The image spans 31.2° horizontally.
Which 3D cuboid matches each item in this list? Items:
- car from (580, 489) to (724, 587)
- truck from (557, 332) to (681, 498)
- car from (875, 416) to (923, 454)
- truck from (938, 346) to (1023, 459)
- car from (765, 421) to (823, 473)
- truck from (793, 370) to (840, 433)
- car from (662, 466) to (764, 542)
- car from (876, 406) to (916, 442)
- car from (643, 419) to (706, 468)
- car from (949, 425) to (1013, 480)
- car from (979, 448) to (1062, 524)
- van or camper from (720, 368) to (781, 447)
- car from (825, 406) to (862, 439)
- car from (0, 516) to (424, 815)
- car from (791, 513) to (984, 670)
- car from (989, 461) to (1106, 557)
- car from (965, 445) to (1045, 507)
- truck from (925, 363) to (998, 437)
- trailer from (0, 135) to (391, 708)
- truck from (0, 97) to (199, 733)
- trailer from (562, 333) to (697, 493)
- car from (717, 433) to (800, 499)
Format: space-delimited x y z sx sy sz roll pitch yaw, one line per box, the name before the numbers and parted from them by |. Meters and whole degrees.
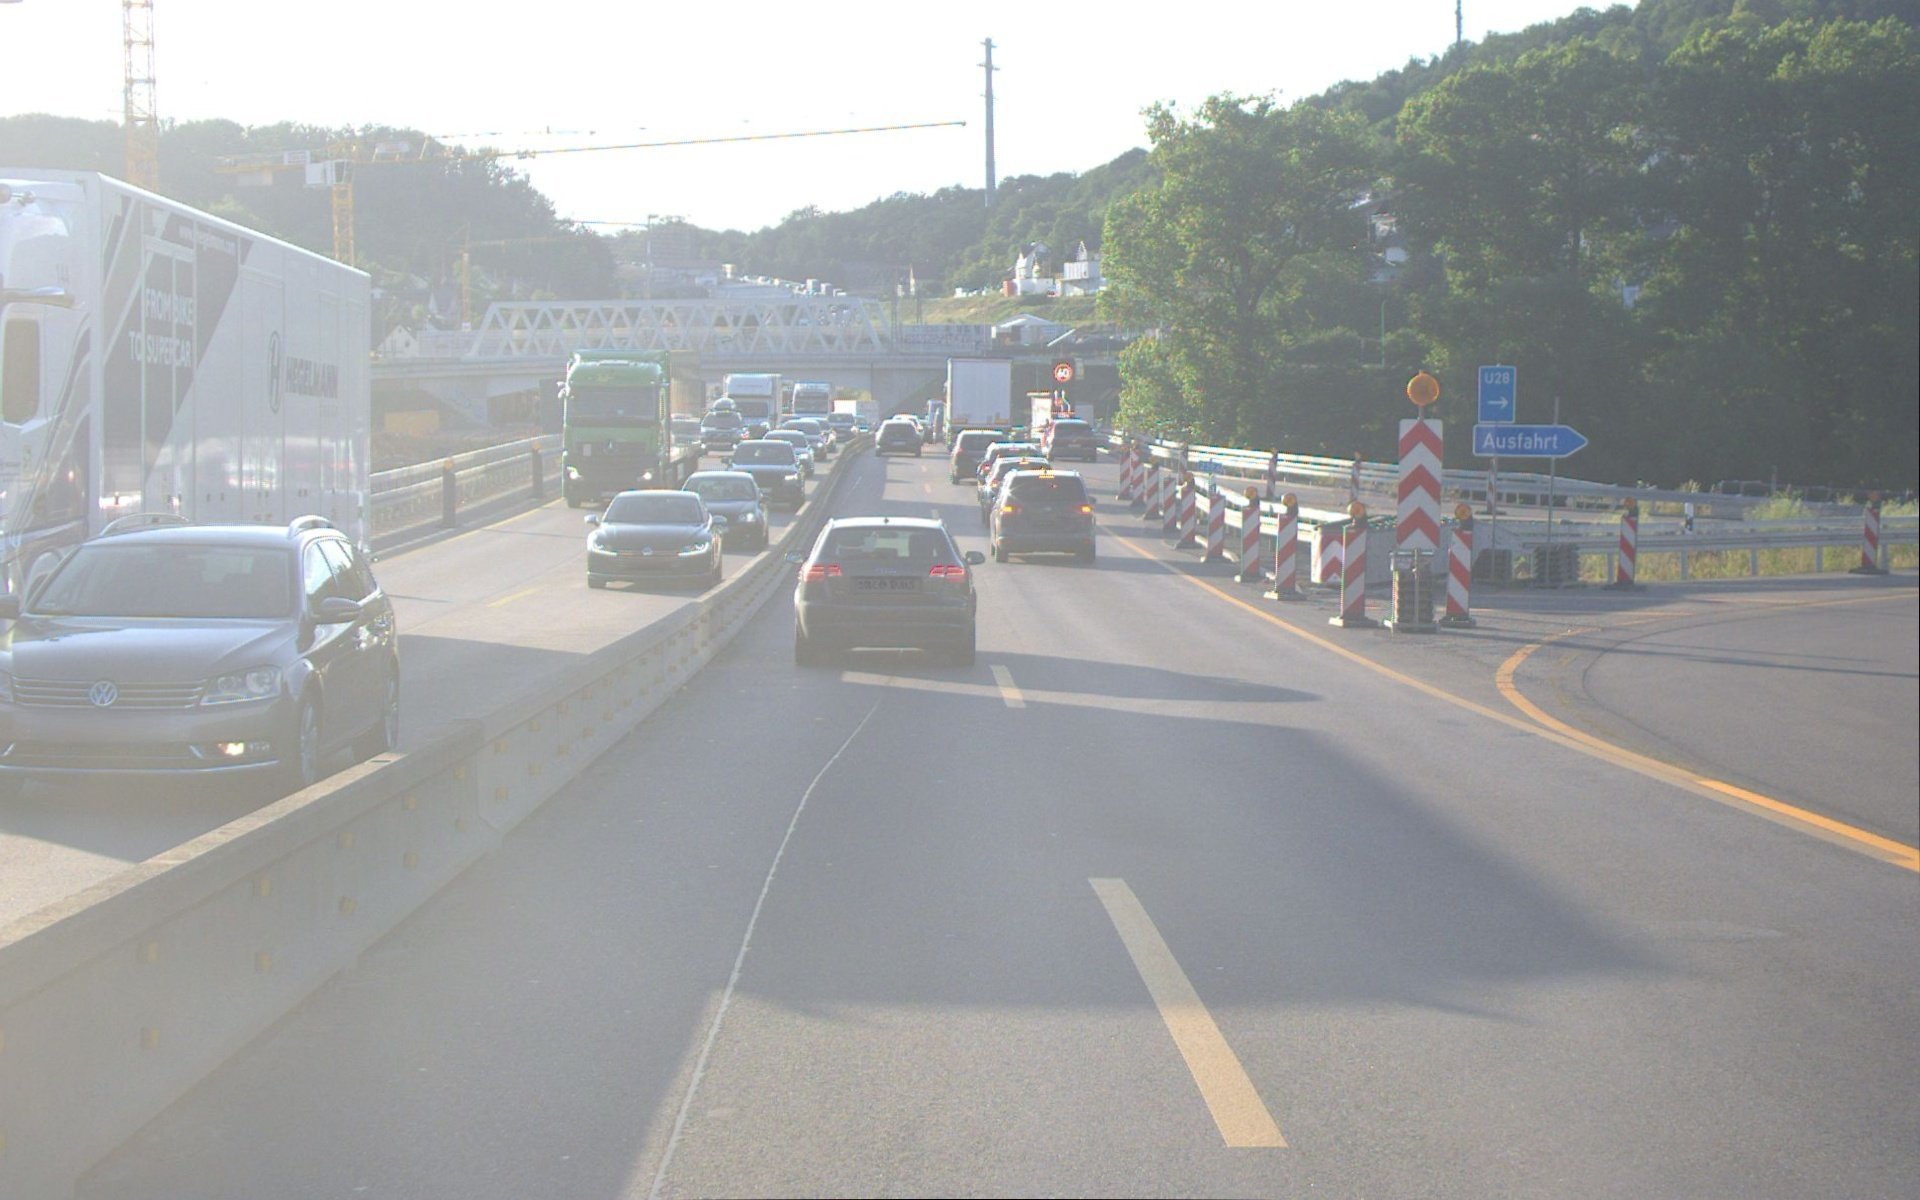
car | -4.612 -0.977 52.069 1.836 1.404 4.496 0 2 -1
truck | -8.718 -4.750 88.392 2.769 4.066 5.777 1 3 -2
car | -2.417 -6.563 136.422 1.863 1.415 4.001 2 3 -1
truck | 0.783 -8.658 148.562 3.385 4.482 15.271 1 5 -1
car | -6.216 -5.740 129.059 1.993 1.787 4.000 2 1 0
truck | -9.309 -12.926 223.456 2.814 4.034 5.673 0 3 0
car | -4.742 -1.858 66.427 1.715 1.404 4.328 0 2 -1
car | -3.180 -8.830 172.279 1.923 1.547 4.000 1 0 0
car | -10.538 -5.787 127.051 1.993 1.758 4.441 1 3 -1
car | 0.636 -4.568 106.428 1.814 1.626 4.412 1 3 -1
car | 1.354 -2.611 78.061 1.774 1.580 4.136 1 3 0
van or camper | -9.512 -8.774 156.538 2.457 3.485 7.415 0 4 -1
car | -5.959 -9.070 175.298 1.827 1.634 4.531 0 3 -2
car | -4.284 0.282 19.267 1.850 1.478 4.511 0 1 0
car | -0.759 -0.129 33.911 1.770 1.385 4.001 1 2 -3
car | 1.537 -1.613 61.835 1.812 1.610 4.526 1 1 -2
car | 1.168 -3.312 91.153 1.875 1.594 4.967 0 2 -2
truck | -0.004 -12.947 221.704 3.890 4.482 13.852 1 4 -3
trailer | -7.706 -1.476 32.287 2.531 4.199 13.935 2 1 -1
truck | -7.652 -1.302 25.640 2.552 4.206 6.050 2 1 0
trailer | -8.953 -5.090 94.398 2.773 4.017 13.686 1 3 -2
car | -5.076 -3.382 87.095 1.911 1.603 4.496 0 2 -1
